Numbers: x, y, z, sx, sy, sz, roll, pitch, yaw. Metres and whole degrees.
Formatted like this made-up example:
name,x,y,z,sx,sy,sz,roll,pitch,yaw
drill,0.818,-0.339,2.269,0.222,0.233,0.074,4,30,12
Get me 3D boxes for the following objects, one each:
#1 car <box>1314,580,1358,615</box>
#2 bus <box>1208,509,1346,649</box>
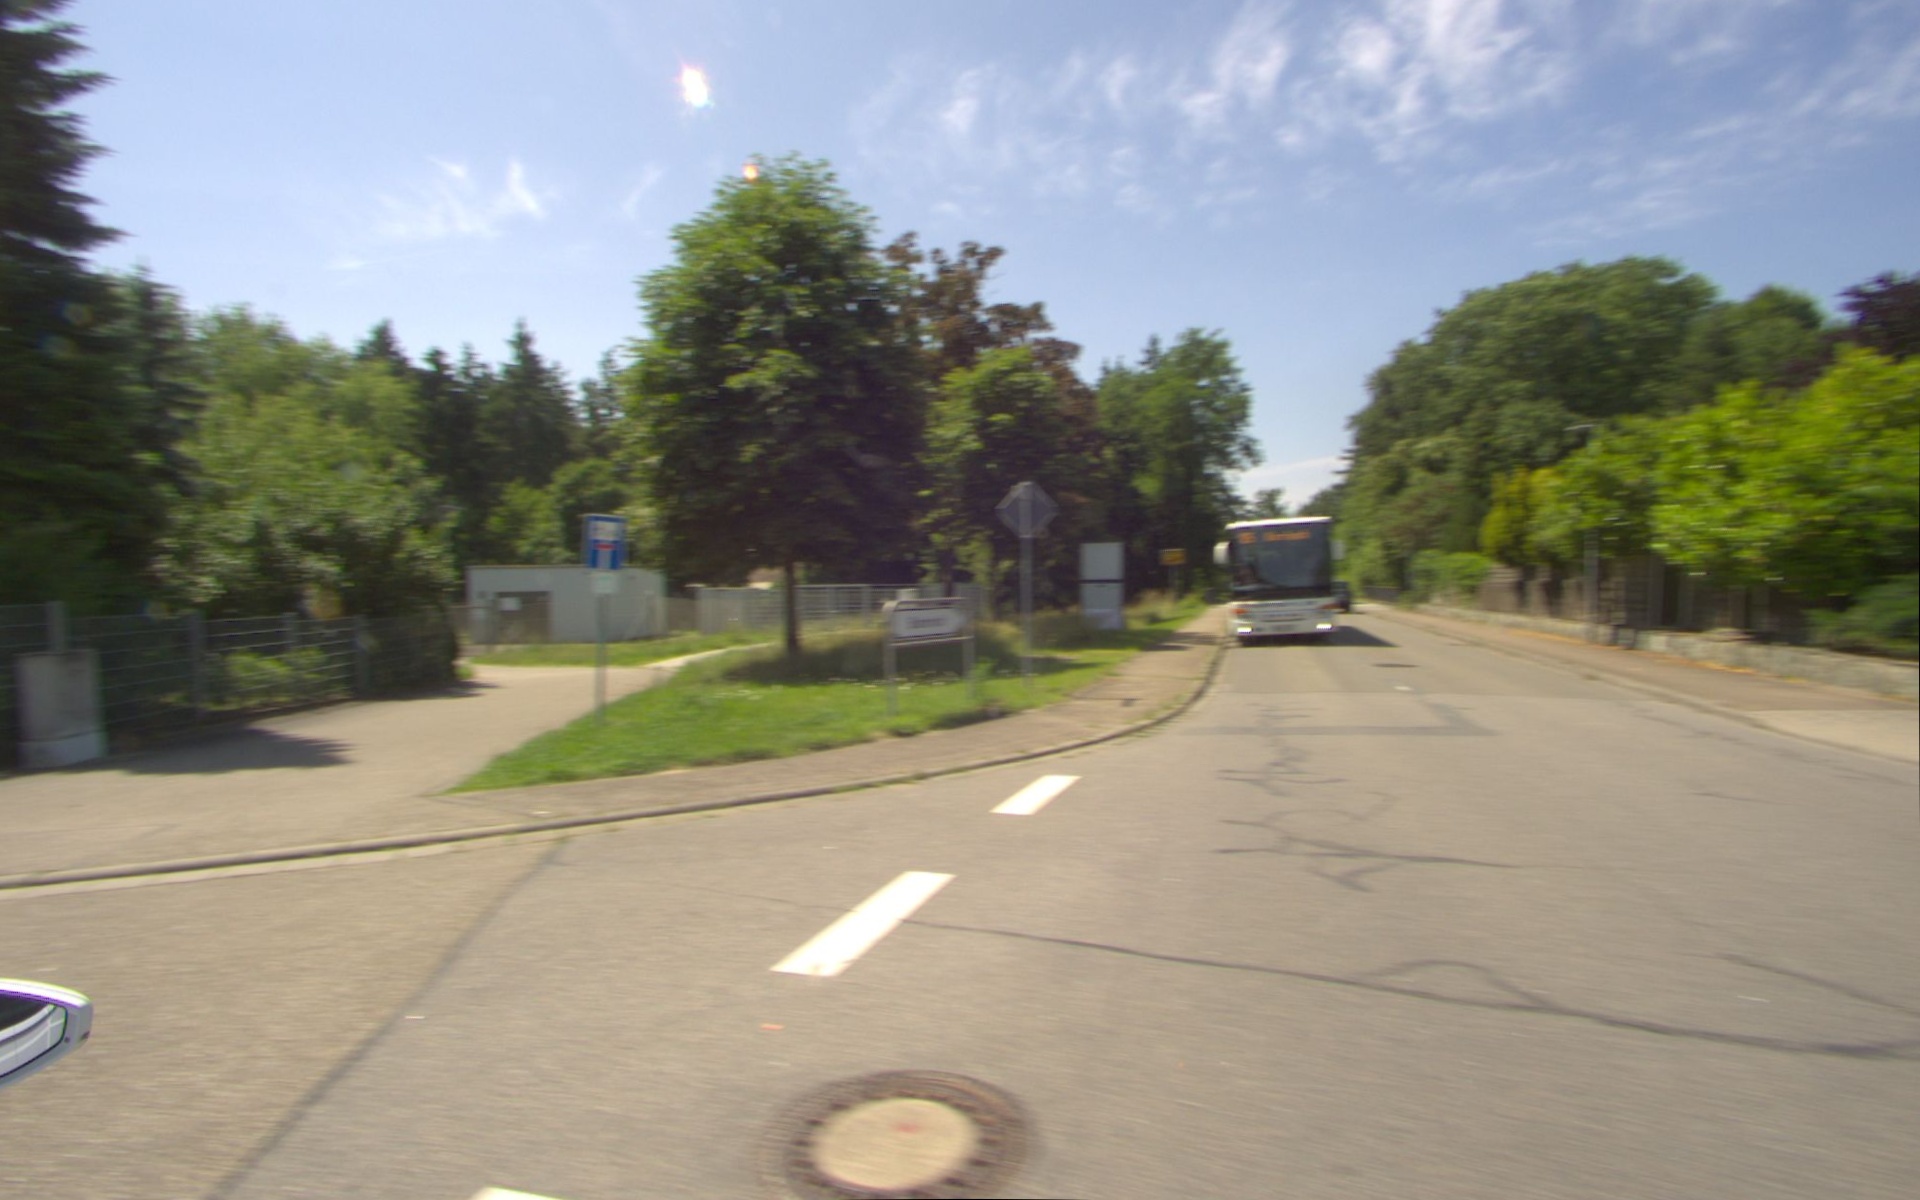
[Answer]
name,x,y,z,sx,sy,sz,roll,pitch,yaw
car,18.503,-0.123,49.417,1.736,1.639,3.993,1,1,17
bus,9.544,-0.573,30.083,3.135,3.288,12.685,0,1,18
